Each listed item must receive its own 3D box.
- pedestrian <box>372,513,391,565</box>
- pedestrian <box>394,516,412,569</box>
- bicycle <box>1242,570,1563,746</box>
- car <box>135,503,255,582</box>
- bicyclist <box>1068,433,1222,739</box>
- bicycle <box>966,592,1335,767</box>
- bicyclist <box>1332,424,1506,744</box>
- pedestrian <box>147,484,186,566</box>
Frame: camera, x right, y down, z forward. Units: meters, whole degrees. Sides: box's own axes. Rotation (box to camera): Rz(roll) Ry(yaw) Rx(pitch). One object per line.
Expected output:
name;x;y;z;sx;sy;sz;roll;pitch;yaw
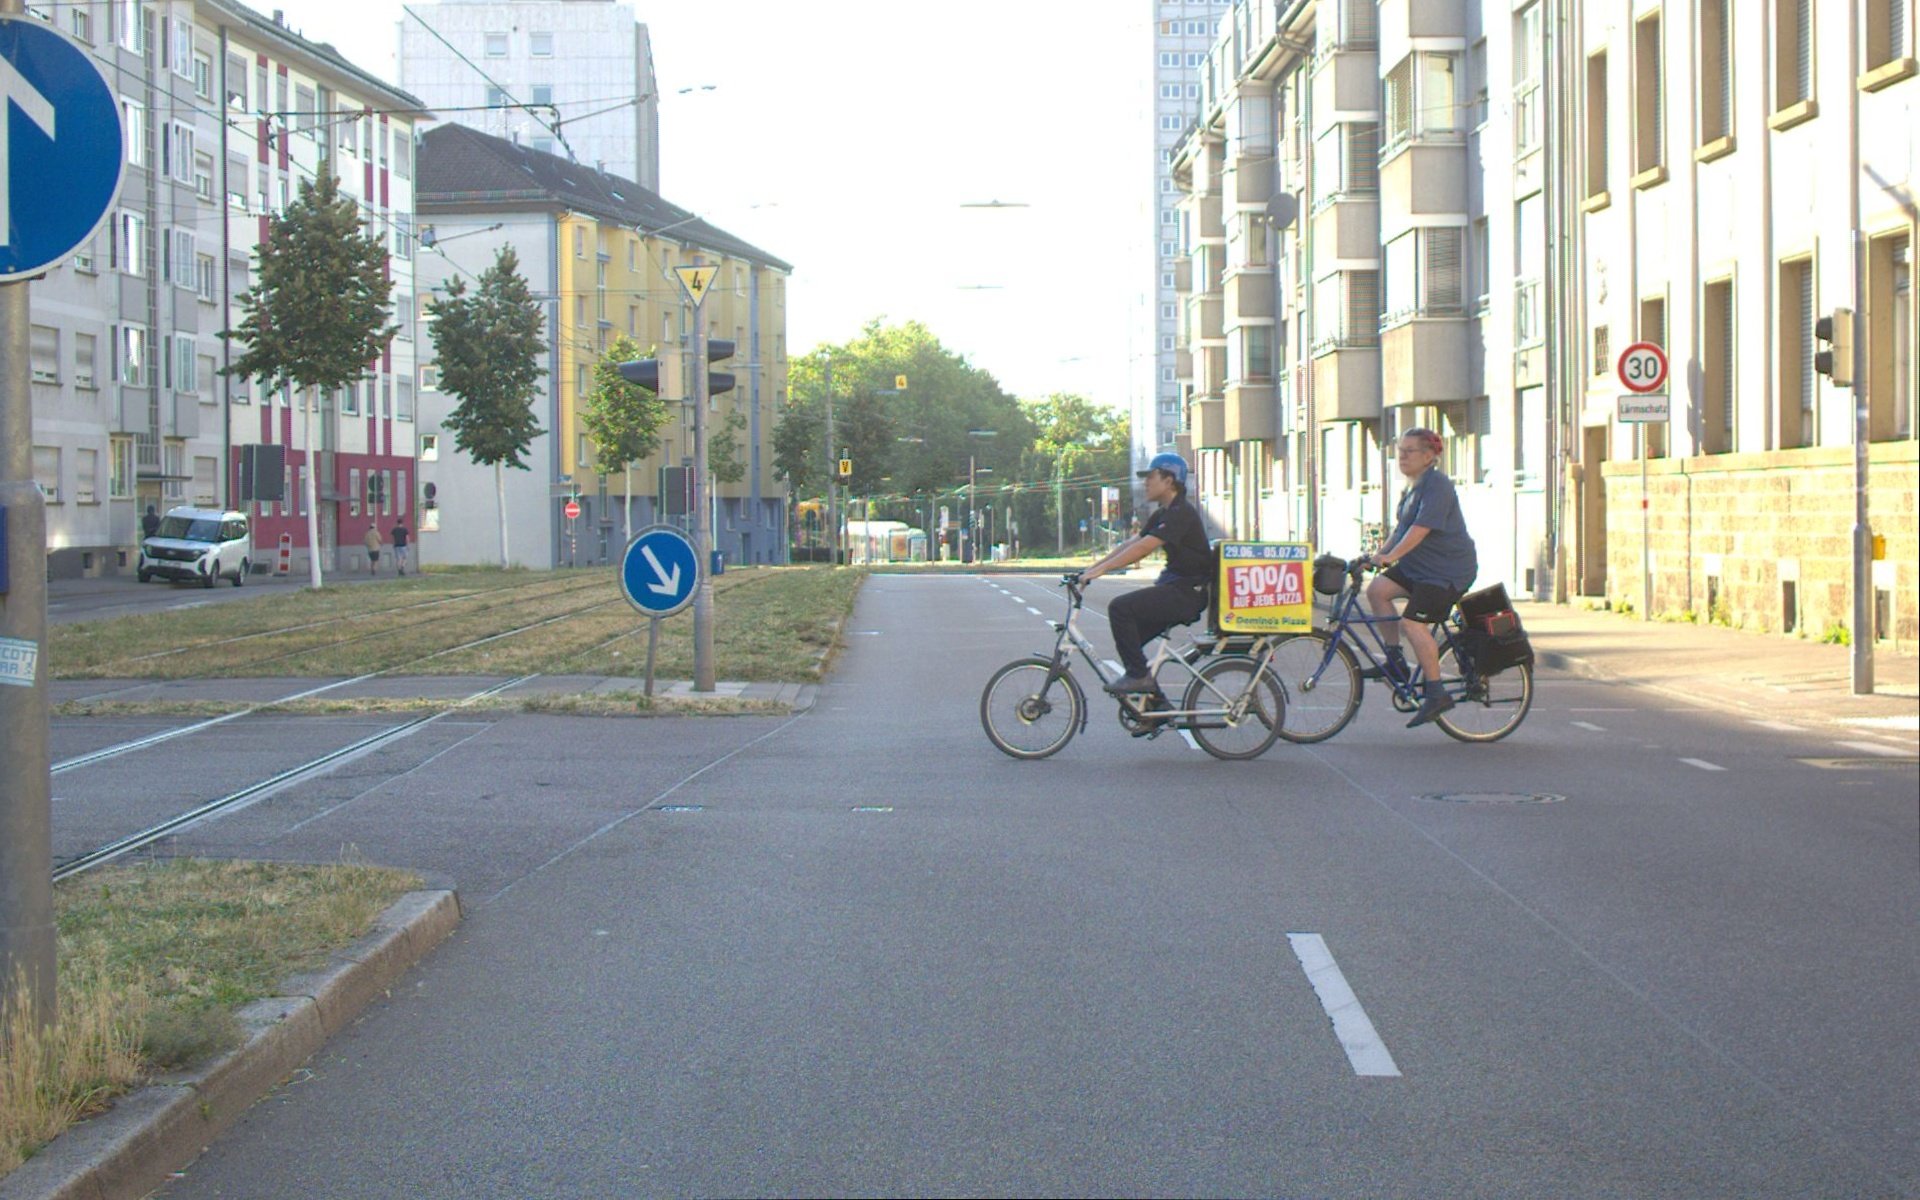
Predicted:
pedestrian;-18.276;-1.933;108.613;0.495;1.652;0.408;-1;1;0
pedestrian;-17.645;-1.823;108.913;0.495;1.652;0.408;-1;1;0
bicycle;2.804;0.363;21.877;1.943;1.090;0.575;0;1;-3
car;-18.177;-1.359;81.859;1.812;1.791;4.245;1;1;1
bicyclist;1.079;-0.086;20.171;0.793;1.747;0.720;1;1;-2
bicycle;1.100;0.460;20.169;2.072;0.955;0.747;1;1;-3
bicyclist;2.899;-0.110;21.765;0.959;1.981;0.672;-1;1;-3
pedestrian;-19.776;-1.869;85.709;0.786;2.007;0.891;-1;1;-4
